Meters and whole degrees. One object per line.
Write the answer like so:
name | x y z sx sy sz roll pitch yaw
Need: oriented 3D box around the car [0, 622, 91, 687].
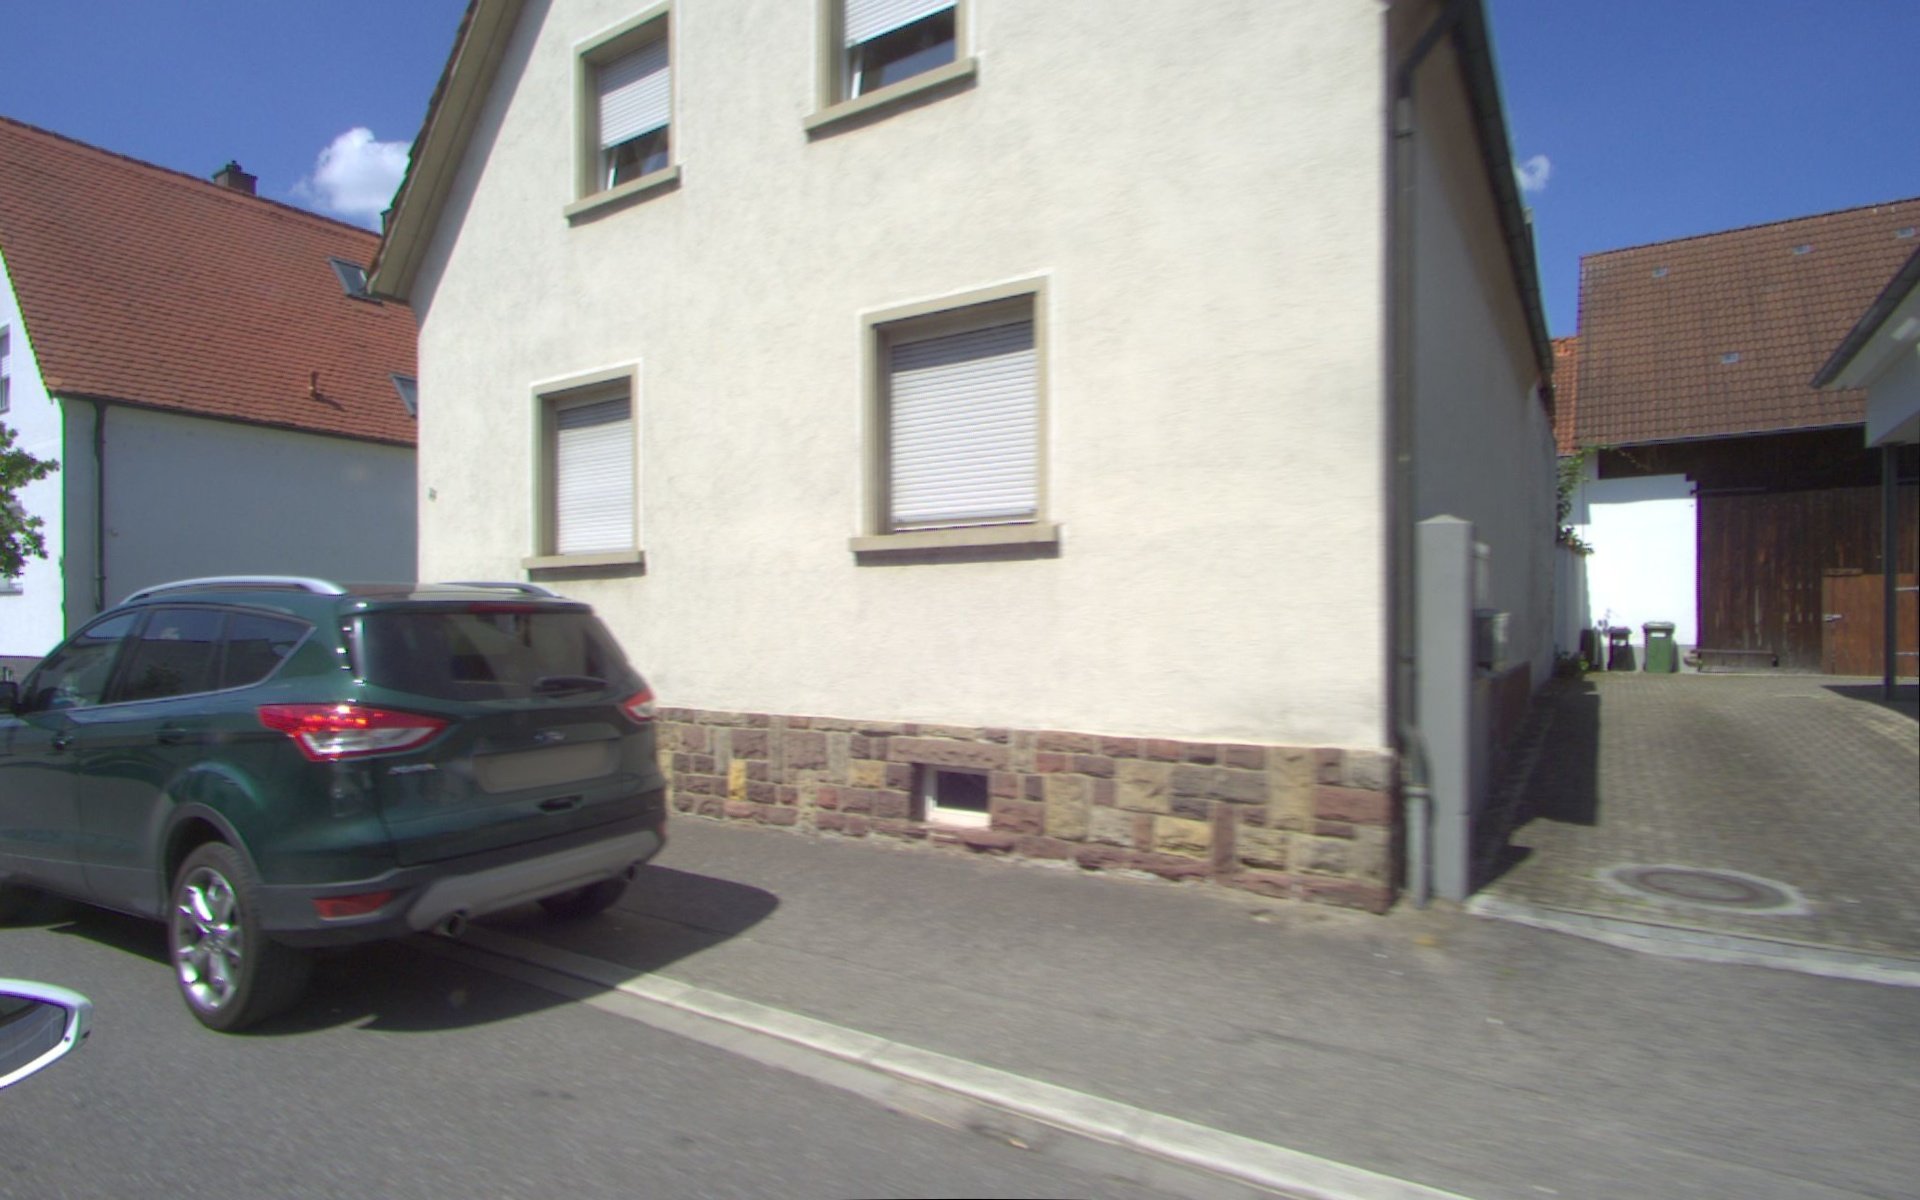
car | -22.204 1.211 22.372 1.716 1.433 3.914 0 -1 33

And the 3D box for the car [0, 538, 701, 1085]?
car | -3.454 0.713 5.010 4.212 1.739 1.726 -1 -1 30

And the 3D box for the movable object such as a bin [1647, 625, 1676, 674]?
movable object such as a bin | 14.699 1.031 20.990 0.469 1.015 0.657 0 -1 37

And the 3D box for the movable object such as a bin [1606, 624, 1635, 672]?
movable object such as a bin | 14.179 1.028 21.493 0.469 1.015 0.555 0 -1 38
